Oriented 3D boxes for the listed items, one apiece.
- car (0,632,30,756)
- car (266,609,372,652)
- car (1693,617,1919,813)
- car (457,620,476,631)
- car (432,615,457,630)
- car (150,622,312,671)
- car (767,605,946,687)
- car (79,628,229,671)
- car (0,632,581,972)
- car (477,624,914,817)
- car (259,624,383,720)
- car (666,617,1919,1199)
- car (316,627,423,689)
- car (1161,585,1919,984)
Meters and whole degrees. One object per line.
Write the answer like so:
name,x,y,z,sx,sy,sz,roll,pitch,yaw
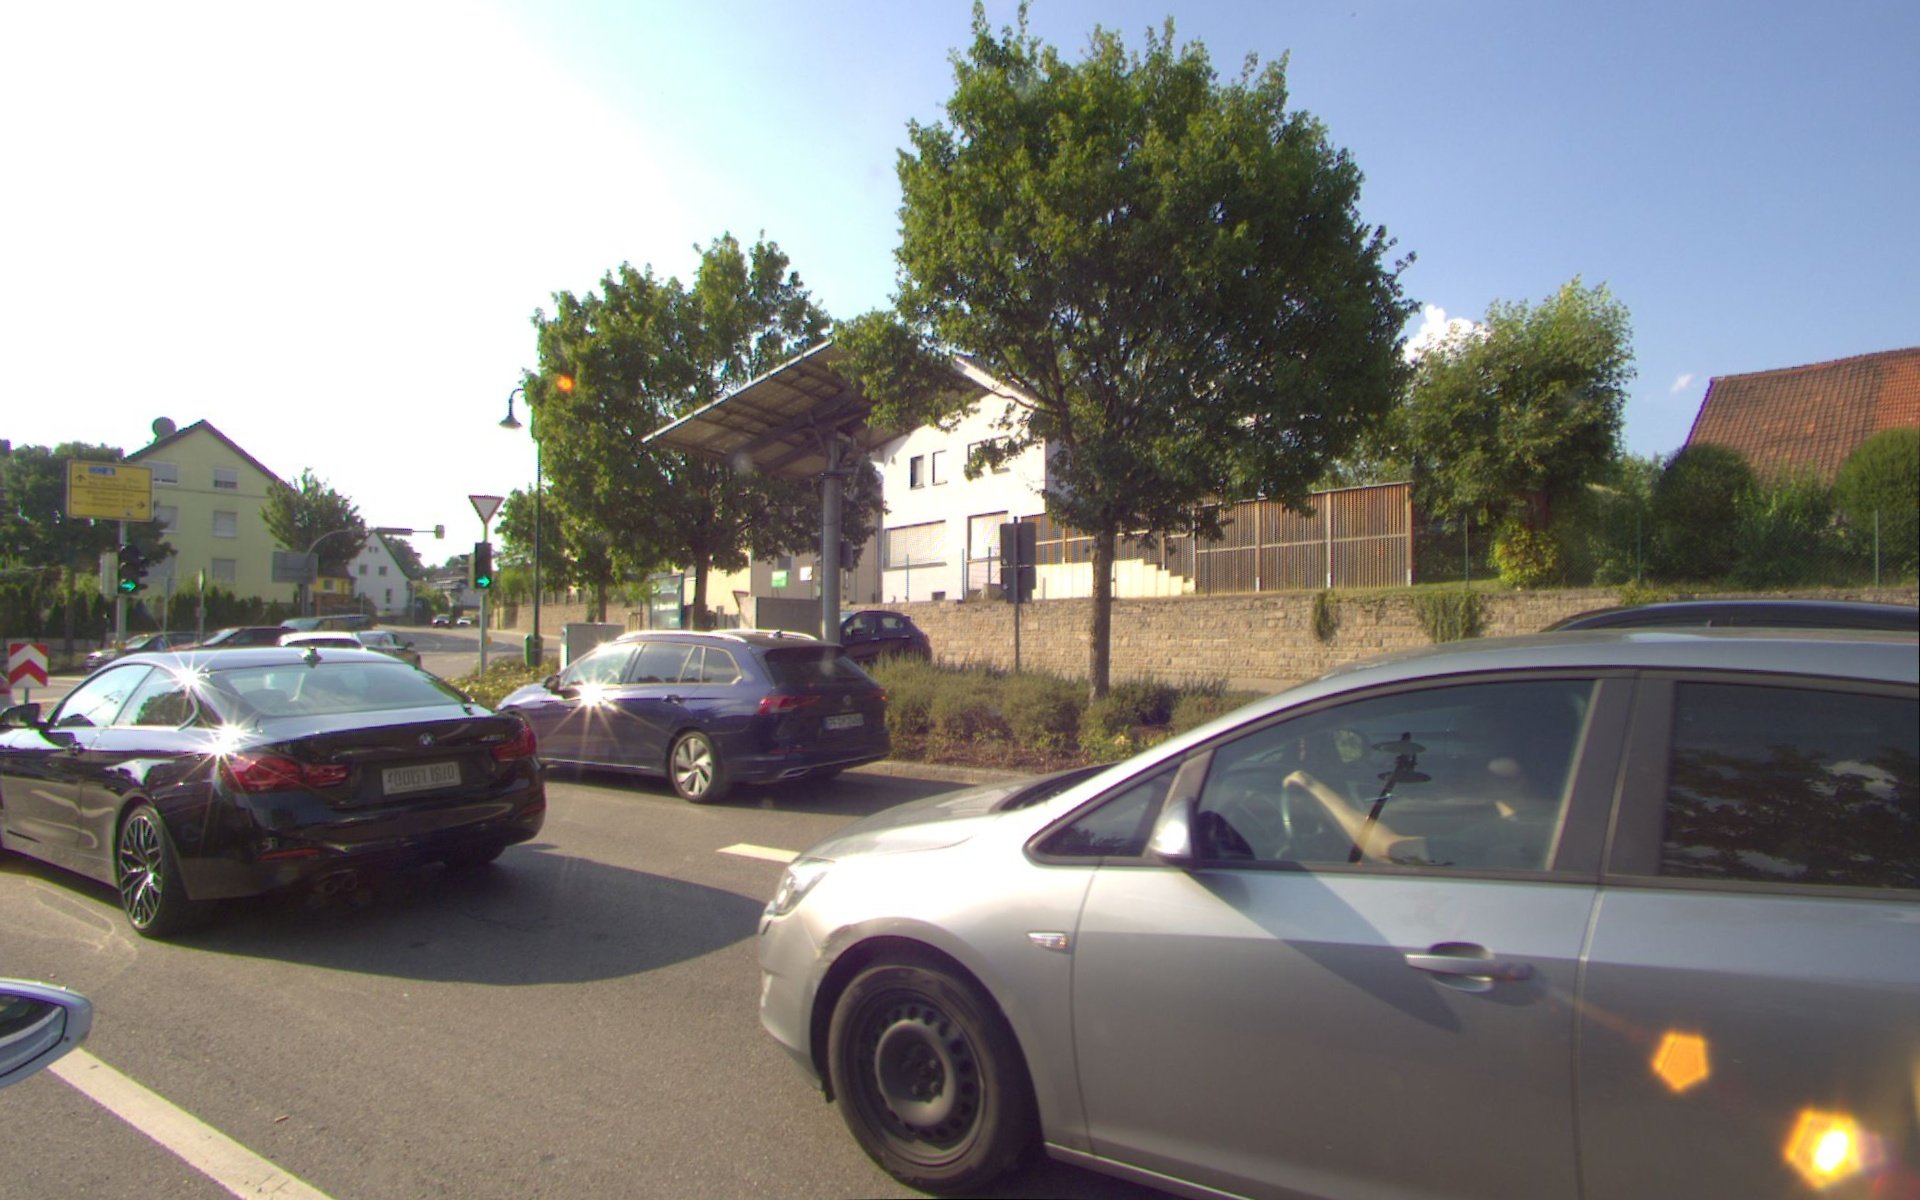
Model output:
car,-13.248,1.139,12.330,3.848,1.444,1.758,-1,0,33
car,-28.056,1.361,44.057,1.812,1.761,4.786,0,-2,-3
car,8.379,0.957,9.654,1.758,1.510,4.120,-1,-2,41
car,-73.202,3.771,148.493,1.937,1.701,4.207,0,-1,-18
car,-63.154,2.770,122.732,1.937,1.701,4.207,0,-1,-18
car,-26.327,1.669,36.326,1.818,1.662,4.418,0,-2,25
car,-2.221,0.993,22.209,1.758,1.653,3.800,-1,-2,40
car,-29.913,1.794,37.280,1.821,1.508,3.983,-1,-2,30
car,-4.432,0.927,6.197,4.220,1.416,1.758,-1,0,33
car,-2.674,0.991,9.726,4.259,1.472,1.757,-1,0,34
car,-11.752,1.230,18.336,1.604,1.562,3.291,0,0,-38
car,1.384,0.798,2.651,4.256,1.472,1.758,-1,0,31
car,-16.795,1.595,28.709,1.632,1.562,4.390,-1,-1,-17
car,3.528,0.771,5.343,4.499,1.630,1.759,-1,0,31
